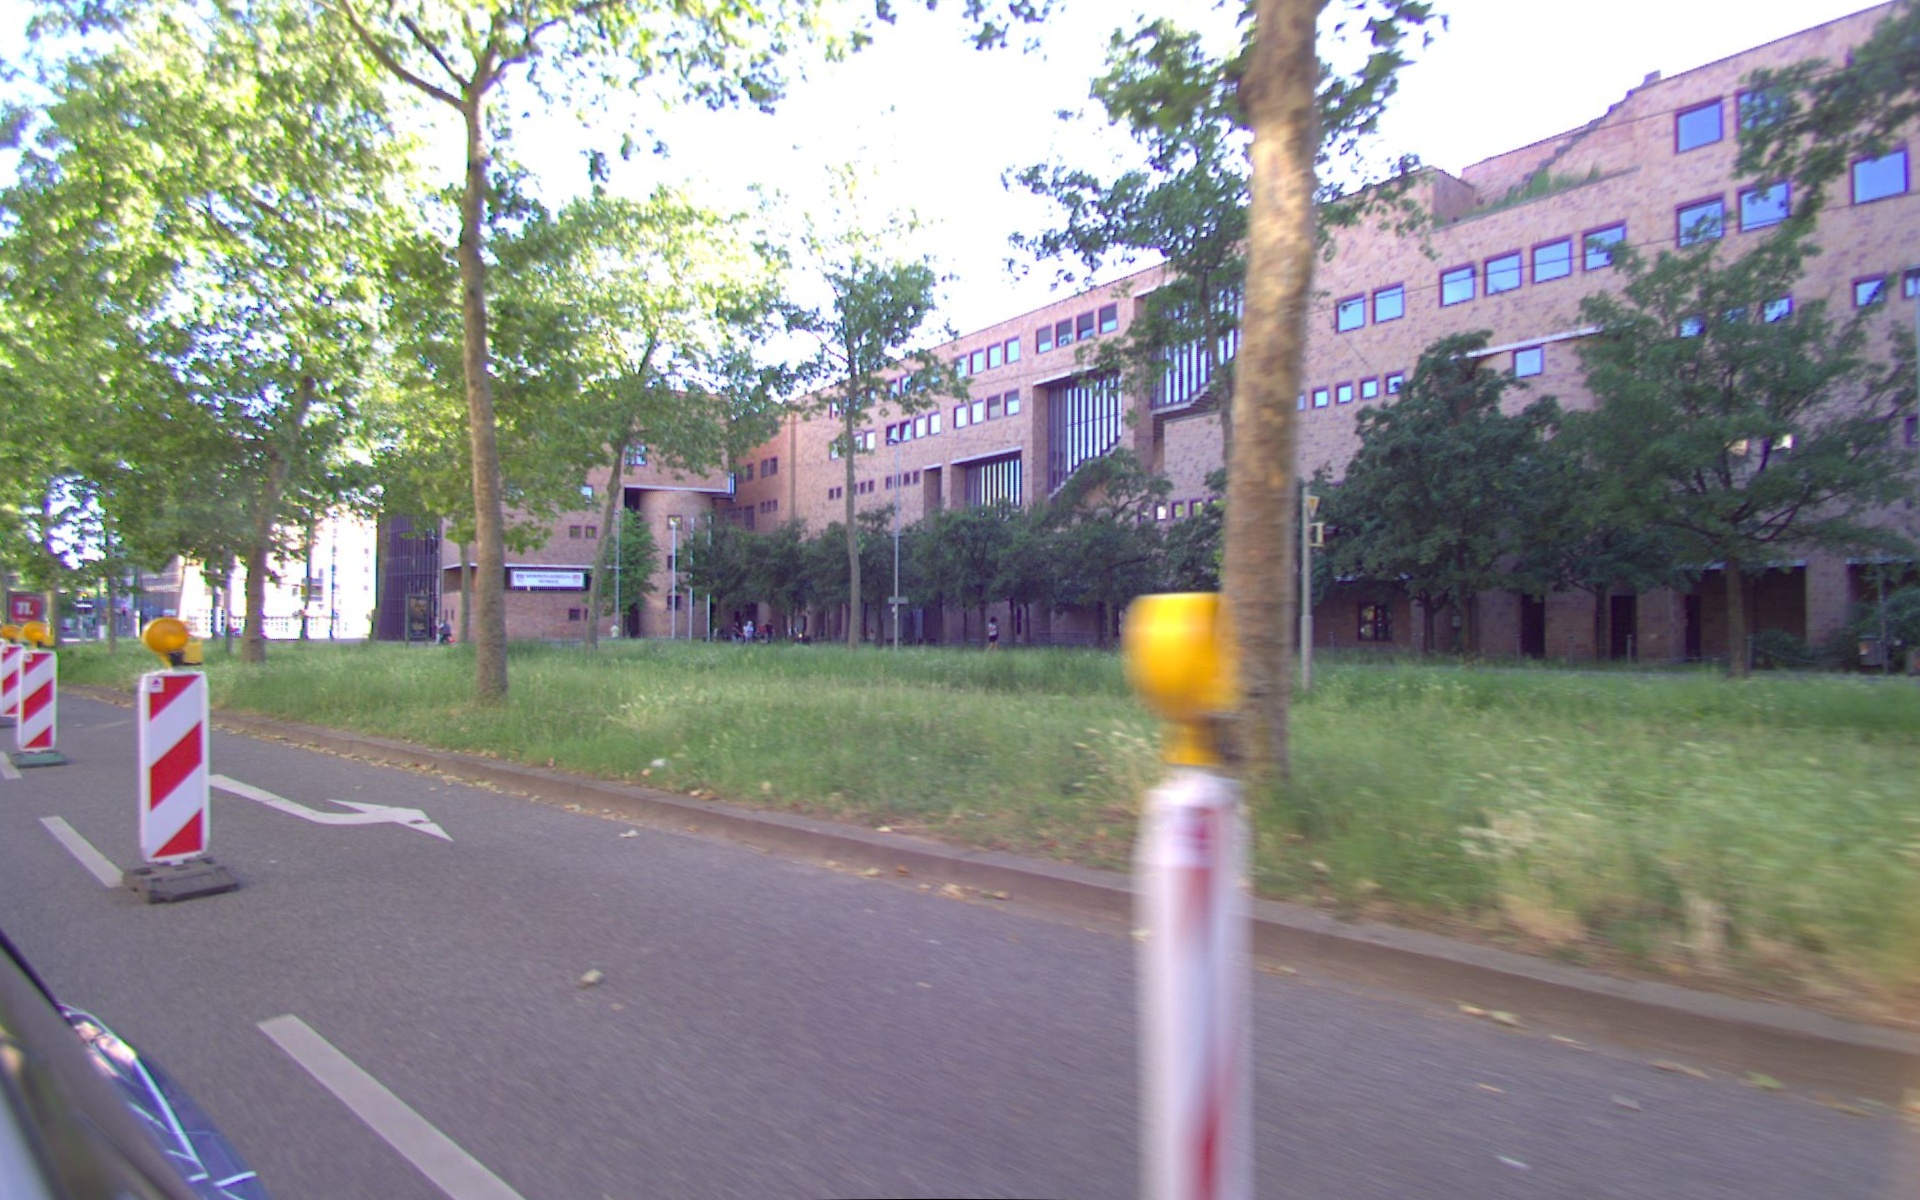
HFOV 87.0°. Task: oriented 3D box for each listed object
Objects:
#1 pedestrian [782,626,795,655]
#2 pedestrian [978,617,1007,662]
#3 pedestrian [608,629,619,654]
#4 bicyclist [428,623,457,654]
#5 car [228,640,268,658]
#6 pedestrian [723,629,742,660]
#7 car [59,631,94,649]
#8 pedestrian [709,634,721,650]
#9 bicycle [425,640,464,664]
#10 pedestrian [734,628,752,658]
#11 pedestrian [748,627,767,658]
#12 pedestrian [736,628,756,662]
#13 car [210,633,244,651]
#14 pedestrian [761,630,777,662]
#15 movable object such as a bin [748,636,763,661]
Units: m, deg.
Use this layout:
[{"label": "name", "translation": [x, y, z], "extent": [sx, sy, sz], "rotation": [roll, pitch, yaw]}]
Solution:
[{"label": "pedestrian", "translation": [-9.140, 2.171, 53.971], "extent": [0.463, 1.517, 0.478], "rotation": [-2, -2, 40]}, {"label": "pedestrian", "translation": [1.384, 1.654, 42.547], "extent": [0.901, 1.845, 0.815], "rotation": [-2, -3, 42]}, {"label": "pedestrian", "translation": [-21.521, 2.553, 62.879], "extent": [0.411, 1.555, 0.653], "rotation": [2, -3, -44]}, {"label": "bicyclist", "translation": [-26.444, 1.975, 51.732], "extent": [1.209, 1.583, 0.931], "rotation": [-2, -3, 42]}, {"label": "car", "translation": [-57.368, 3.927, 81.529], "extent": [4.147, 1.440, 1.653], "rotation": [-2, -3, 41]}, {"label": "pedestrian", "translation": [-12.147, 2.357, 54.016], "extent": [0.756, 1.629, 0.657], "rotation": [-2, -3, 41]}, {"label": "car", "translation": [-73.573, 3.286, 84.224], "extent": [4.147, 1.440, 1.596], "rotation": [-2, -2, 41]}, {"label": "pedestrian", "translation": [-18.106, 3.099, 74.792], "extent": [0.628, 1.207, 0.659], "rotation": [-1, -2, 32]}, {"label": "bicycle", "translation": [-26.309, 2.635, 51.609], "extent": [2.436, 1.134, 0.946], "rotation": [-1, -2, 42]}, {"label": "pedestrian", "translation": [-11.698, 2.317, 54.530], "extent": [0.756, 1.629, 0.656], "rotation": [-2, -3, 43]}, {"label": "pedestrian", "translation": [-10.713, 2.246, 53.483], "extent": [0.756, 1.629, 0.657], "rotation": [-2, -3, 41]}, {"label": "pedestrian", "translation": [-11.156, 2.328, 52.735], "extent": [0.796, 1.735, 0.657], "rotation": [-2, -3, 41]}, {"label": "car", "translation": [-62.022, 3.559, 85.646], "extent": [3.219, 1.440, 1.596], "rotation": [-2, -3, 41]}, {"label": "pedestrian", "translation": [-10.165, 2.452, 53.776], "extent": [0.596, 1.692, 0.604], "rotation": [-2, -3, 40]}, {"label": "movable object such as a bin", "translation": [-10.544, 2.494, 52.230], "extent": [0.756, 1.289, 0.352], "rotation": [-2, -3, 41]}]
